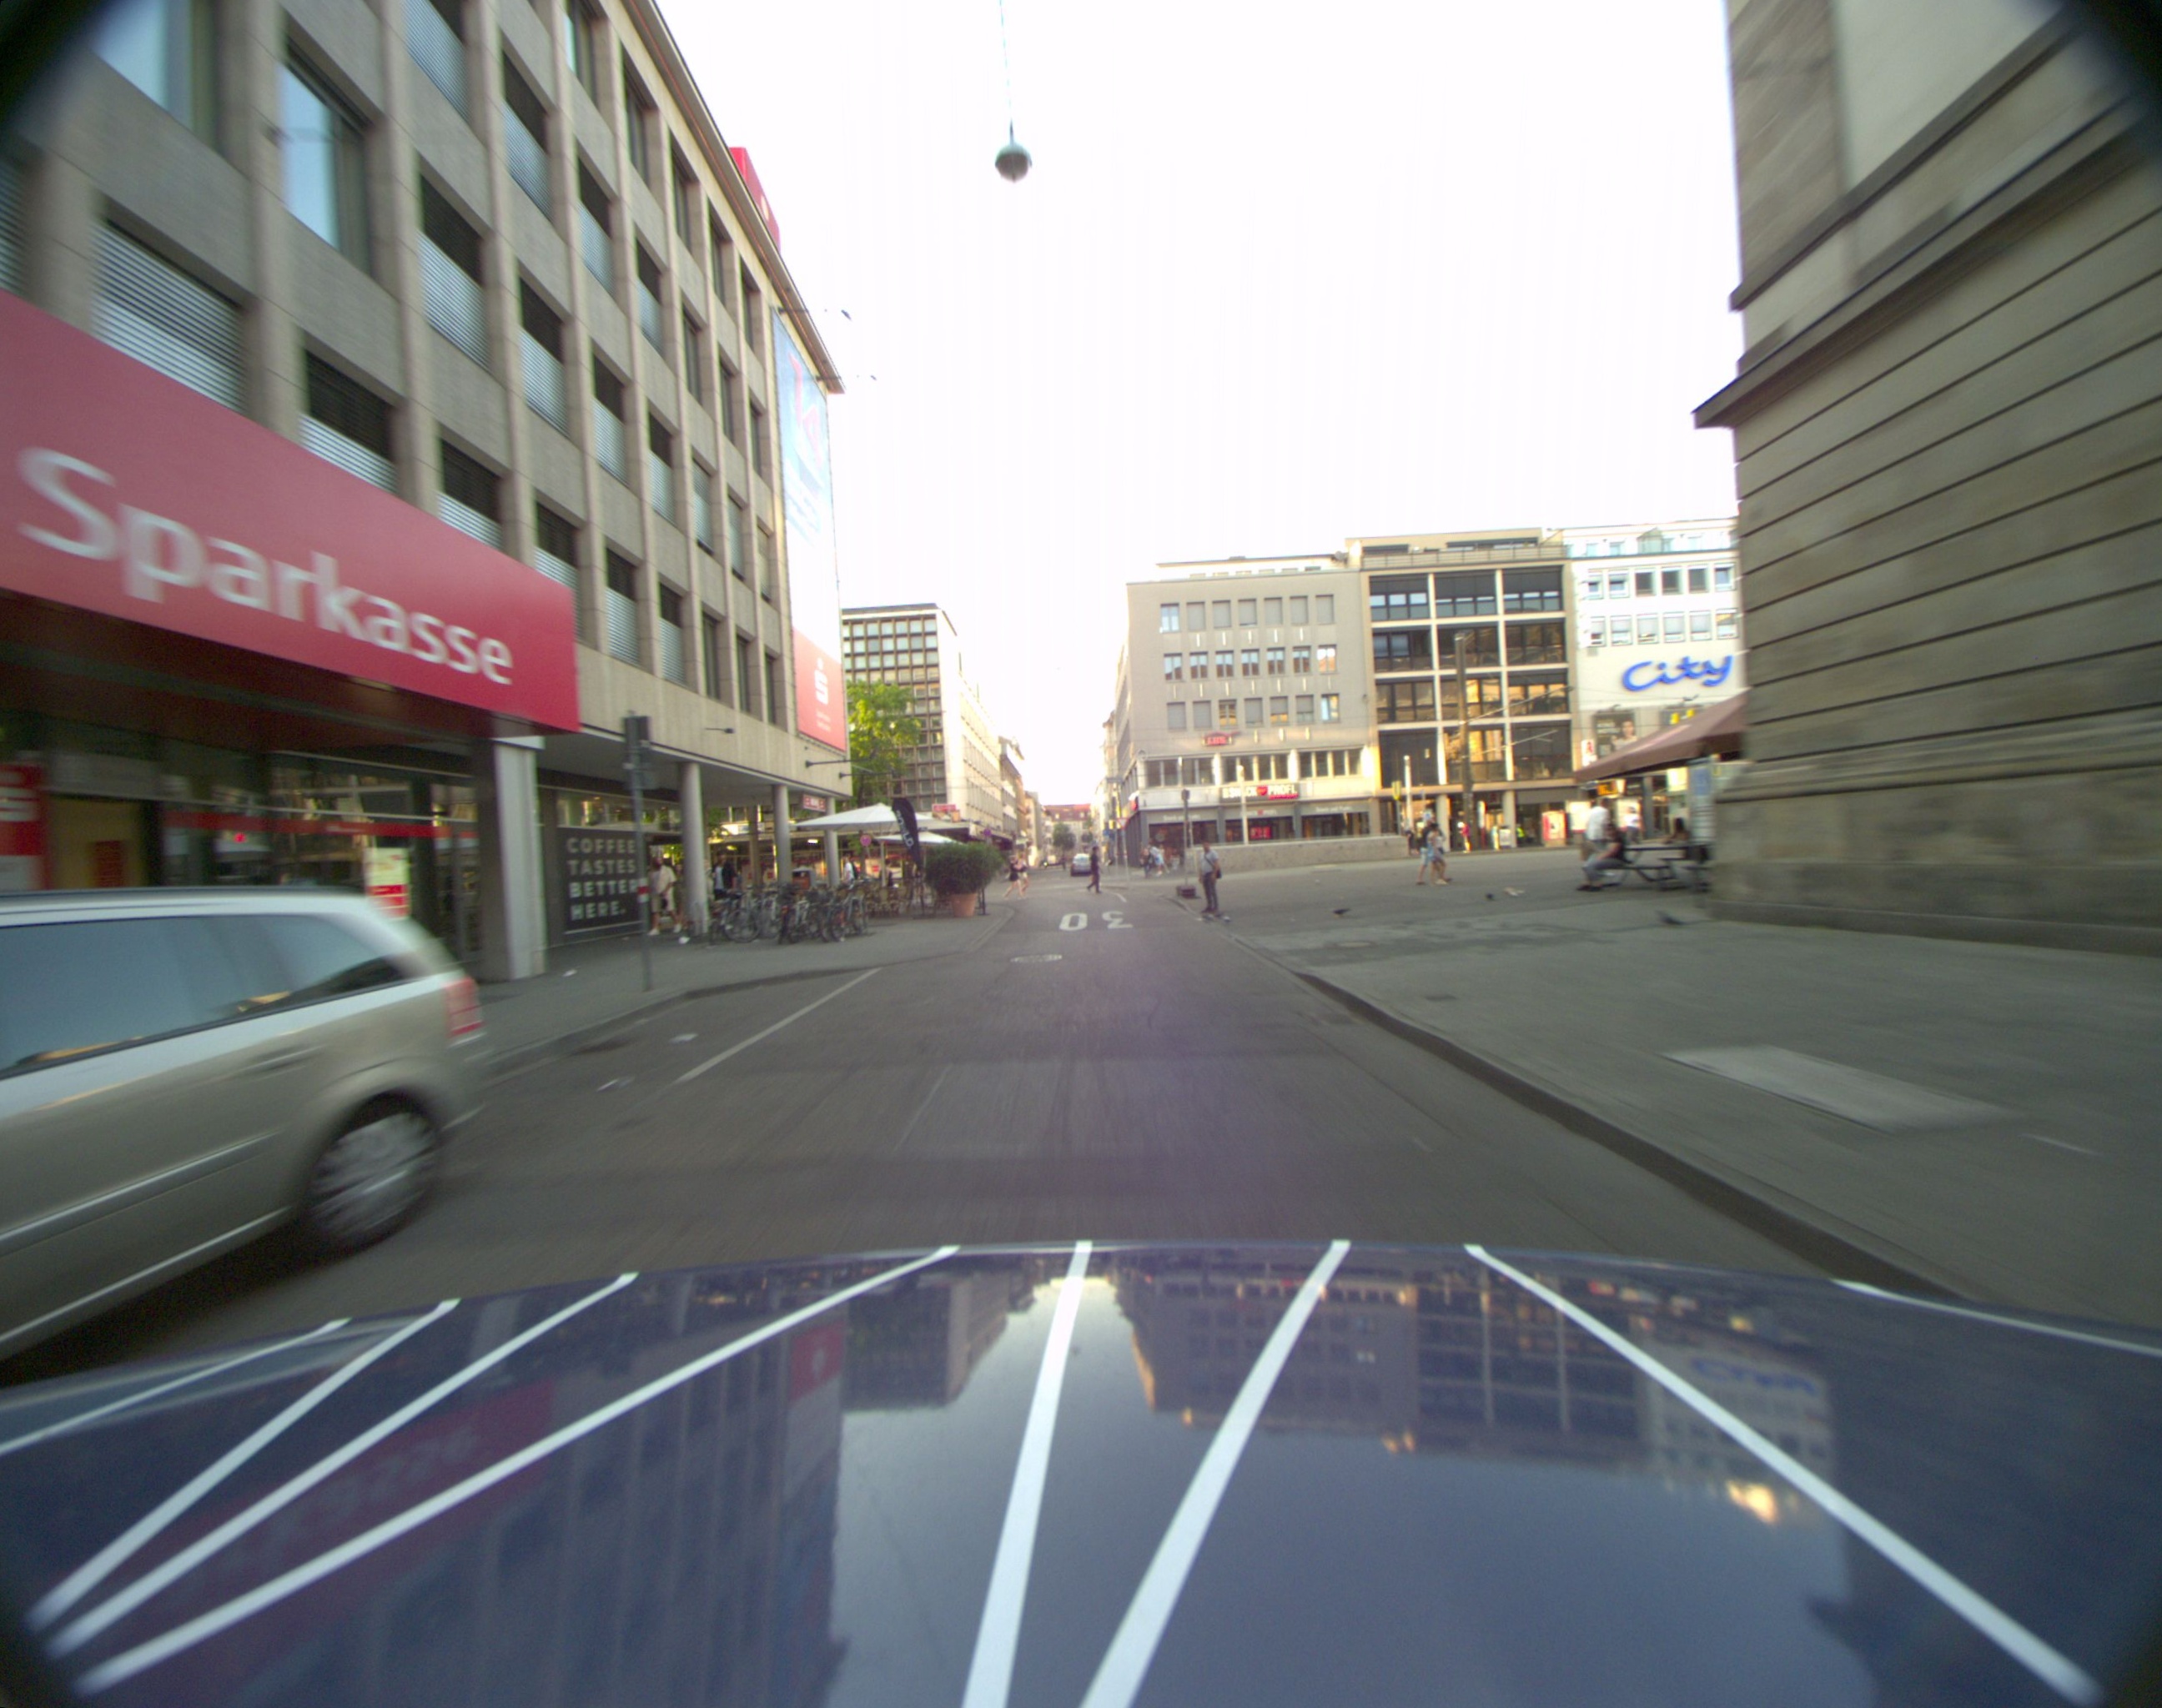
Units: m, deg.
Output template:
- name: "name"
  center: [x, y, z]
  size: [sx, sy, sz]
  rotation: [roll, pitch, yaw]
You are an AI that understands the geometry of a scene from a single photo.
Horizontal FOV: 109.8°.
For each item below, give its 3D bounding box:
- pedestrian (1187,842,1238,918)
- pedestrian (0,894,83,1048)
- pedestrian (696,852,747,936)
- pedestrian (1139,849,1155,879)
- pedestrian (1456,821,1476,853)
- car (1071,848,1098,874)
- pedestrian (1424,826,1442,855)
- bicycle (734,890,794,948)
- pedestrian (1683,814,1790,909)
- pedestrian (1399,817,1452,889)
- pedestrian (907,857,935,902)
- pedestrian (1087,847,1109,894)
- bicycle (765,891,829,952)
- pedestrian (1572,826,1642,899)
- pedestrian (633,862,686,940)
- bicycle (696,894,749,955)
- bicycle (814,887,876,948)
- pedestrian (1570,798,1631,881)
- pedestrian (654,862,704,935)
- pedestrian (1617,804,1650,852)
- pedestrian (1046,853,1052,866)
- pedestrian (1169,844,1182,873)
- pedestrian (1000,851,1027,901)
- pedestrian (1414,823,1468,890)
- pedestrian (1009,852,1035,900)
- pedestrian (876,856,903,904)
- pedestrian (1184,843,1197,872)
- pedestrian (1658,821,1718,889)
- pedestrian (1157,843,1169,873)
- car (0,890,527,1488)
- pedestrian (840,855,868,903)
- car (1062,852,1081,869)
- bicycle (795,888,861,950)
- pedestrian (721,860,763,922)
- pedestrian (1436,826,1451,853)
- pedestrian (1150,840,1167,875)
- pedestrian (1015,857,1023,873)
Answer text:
- name: "pedestrian"
  center: [2.983, 0.582, 17.216]
  size: [0.754, 1.649, 0.742]
  rotation: [-3, 1, -35]
- name: "pedestrian"
  center: [-12.177, 1.316, 8.587]
  size: [0.691, 1.652, 0.729]
  rotation: [-4, 1, -11]
- name: "pedestrian"
  center: [-8.510, 0.922, 17.987]
  size: [0.799, 1.907, 0.687]
  rotation: [-3, 1, -3]
- name: "pedestrian"
  center: [3.509, 0.544, 40.361]
  size: [0.675, 1.532, 0.641]
  rotation: [-3, 1, -8]
- name: "pedestrian"
  center: [21.474, -0.958, 42.381]
  size: [0.709, 1.698, 0.681]
  rotation: [-4, 1, 5]
- name: "car"
  center: [0.222, 0.465, 55.270]
  size: [1.824, 1.728, 4.000]
  rotation: [-3, 0, -1]
- name: "pedestrian"
  center: [21.065, -0.802, 45.487]
  size: [0.671, 1.643, 0.623]
  rotation: [-5, 1, -32]
- name: "bicycle"
  center: [-6.592, 1.326, 15.879]
  size: [0.383, 1.027, 1.864]
  rotation: [-3, 0, 1]
- name: "pedestrian"
  center: [9.611, 0.105, 11.177]
  size: [0.863, 1.264, 0.751]
  rotation: [-7, 0, 18]
- name: "pedestrian"
  center: [8.884, -0.022, 19.617]
  size: [0.862, 1.751, 0.744]
  rotation: [-5, 1, -9]
- name: "pedestrian"
  center: [-5.712, 0.907, 27.159]
  size: [0.796, 1.556, 0.769]
  rotation: [-3, 0, -1]
- name: "pedestrian"
  center: [0.632, 0.587, 27.790]
  size: [0.732, 1.679, 0.746]
  rotation: [-3, 0, 2]
- name: "bicycle"
  center: [-5.530, 1.288, 14.891]
  size: [0.383, 1.027, 1.864]
  rotation: [-3, 0, 4]
- name: "pedestrian"
  center: [9.809, 0.147, 14.207]
  size: [0.778, 1.267, 0.787]
  rotation: [-6, 0, 16]
- name: "pedestrian"
  center: [-9.900, 1.086, 17.866]
  size: [0.799, 1.751, 0.687]
  rotation: [-3, 0, -3]
- name: "bicycle"
  center: [-7.005, 1.343, 14.925]
  size: [0.383, 1.027, 1.862]
  rotation: [-3, 0, -9]
- name: "bicycle"
  center: [-4.568, 1.199, 14.840]
  size: [0.330, 1.027, 1.865]
  rotation: [-3, 0, 9]
- name: "pedestrian"
  center: [11.375, -0.319, 16.666]
  size: [0.687, 1.751, 0.799]
  rotation: [-3, 0, -10]
- name: "pedestrian"
  center: [-9.984, 1.091, 18.894]
  size: [0.799, 1.751, 0.687]
  rotation: [-3, 0, -4]
- name: "pedestrian"
  center: [20.913, -0.969, 28.794]
  size: [0.686, 1.751, 0.800]
  rotation: [-3, 0, 11]
- name: "pedestrian"
  center: [-4.179, 0.681, 99.597]
  size: [0.649, 1.651, 0.650]
  rotation: [-3, 0, 1]
- name: "pedestrian"
  center: [5.570, 0.253, 44.772]
  size: [0.545, 1.698, 0.558]
  rotation: [-4, 1, 0]
- name: "pedestrian"
  center: [-2.369, 0.767, 26.713]
  size: [0.796, 1.679, 0.769]
  rotation: [-3, 0, 2]
- name: "pedestrian"
  center: [8.995, 0.062, 19.003]
  size: [0.865, 1.581, 0.738]
  rotation: [-5, 1, -9]
- name: "pedestrian"
  center: [-2.132, 0.768, 27.456]
  size: [0.796, 1.679, 0.769]
  rotation: [-3, 0, 2]
- name: "pedestrian"
  center: [-6.876, 0.921, 27.213]
  size: [0.797, 1.679, 0.768]
  rotation: [-3, 0, -19]
- name: "pedestrian"
  center: [6.490, 0.211, 45.046]
  size: [0.545, 1.698, 0.558]
  rotation: [-4, 1, 0]
- name: "pedestrian"
  center: [11.246, 0.026, 14.079]
  size: [0.561, 1.184, 0.644]
  rotation: [-6, 1, -35]
- name: "pedestrian"
  center: [4.811, 0.236, 44.805]
  size: [0.545, 1.698, 0.558]
  rotation: [-4, 1, 0]
- name: "car"
  center: [-3.971, 1.063, 1.778]
  size: [1.744, 1.589, 4.714]
  rotation: [-5, 0, 0]
- name: "pedestrian"
  center: [-8.263, 0.888, 27.637]
  size: [0.797, 1.679, 0.768]
  rotation: [-3, 1, -24]
- name: "car"
  center: [-1.035, 0.672, 81.315]
  size: [1.798, 1.705, 4.000]
  rotation: [-3, 0, 1]
- name: "bicycle"
  center: [-4.914, 1.237, 14.890]
  size: [0.383, 1.027, 1.865]
  rotation: [-3, 0, 9]
- name: "pedestrian"
  center: [-9.924, 1.066, 22.244]
  size: [0.685, 1.751, 0.801]
  rotation: [-2, 1, 39]
- name: "pedestrian"
  center: [21.404, -0.865, 44.865]
  size: [0.572, 1.577, 0.492]
  rotation: [-5, 1, -32]
- name: "pedestrian"
  center: [4.345, 0.207, 42.663]
  size: [0.783, 1.882, 0.642]
  rotation: [-3, 1, 0]
- name: "pedestrian"
  center: [-6.339, 1.109, 77.207]
  size: [0.650, 1.652, 0.650]
  rotation: [-4, 1, 0]
